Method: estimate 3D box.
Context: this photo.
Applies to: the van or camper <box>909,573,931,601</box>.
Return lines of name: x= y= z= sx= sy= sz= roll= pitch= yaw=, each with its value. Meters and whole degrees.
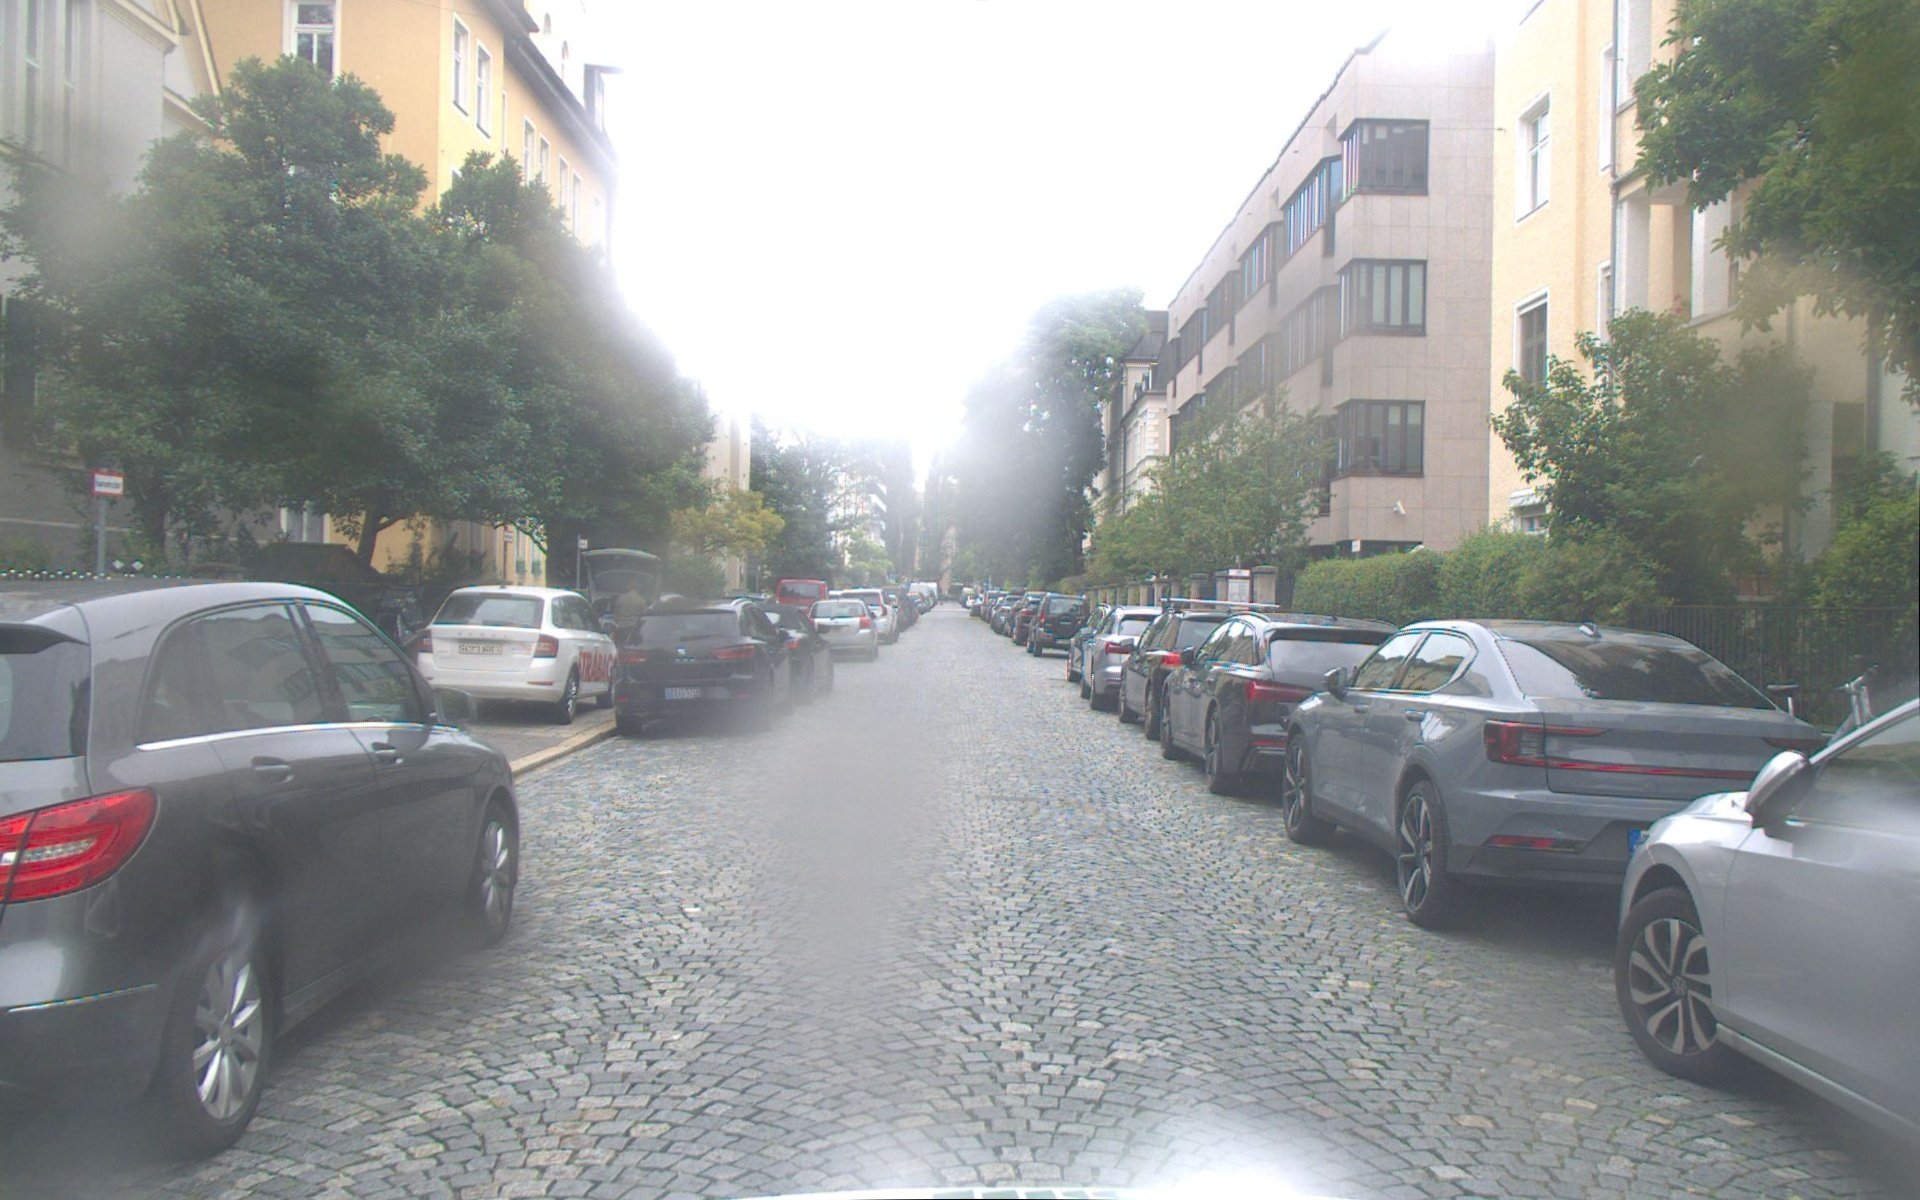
van or camper: x=-3.952 y=-1.278 z=162.423 sx=1.953 sy=2.698 sz=4.000 roll=-2 pitch=0 yaw=0

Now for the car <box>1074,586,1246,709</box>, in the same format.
car: x=2.879 y=0.629 z=24.837 sx=1.953 sy=1.579 sz=4.986 roll=2 pitch=0 yaw=0

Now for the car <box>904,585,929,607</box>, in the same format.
car: x=-3.442 y=-0.314 z=129.913 sx=1.836 sy=1.607 sz=4.253 roll=-2 pitch=0 yaw=-2

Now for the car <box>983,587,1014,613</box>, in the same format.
car: x=2.406 y=-0.013 z=104.014 sx=1.799 sy=1.516 sz=4.421 roll=3 pitch=0 yaw=0

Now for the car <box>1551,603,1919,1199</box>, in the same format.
car: x=3.240 y=0.811 z=4.334 sx=1.720 sy=1.485 sz=4.480 roll=3 pitch=0 yaw=0

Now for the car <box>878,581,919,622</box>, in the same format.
car: x=-3.127 y=0.040 z=84.849 sx=1.953 sy=1.950 sz=5.176 roll=-3 pitch=0 yaw=-1

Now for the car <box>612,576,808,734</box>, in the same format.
car: x=-2.827 y=0.569 z=19.600 sx=1.704 sy=1.631 sz=4.536 roll=-1 pitch=0 yaw=-1

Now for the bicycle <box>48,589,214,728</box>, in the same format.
bicycle: x=-8.169 y=0.536 z=16.398 sx=0.593 sy=1.281 sz=2.060 roll=1 pitch=0 yaw=0

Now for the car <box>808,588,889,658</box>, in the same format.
car: x=-2.675 y=0.515 z=40.465 sx=1.679 sy=1.589 sz=4.390 roll=-1 pitch=0 yaw=-1

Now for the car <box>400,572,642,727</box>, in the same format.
car: x=-5.031 y=0.512 z=19.598 sx=1.704 sy=1.563 sz=4.466 roll=2 pitch=0 yaw=-1

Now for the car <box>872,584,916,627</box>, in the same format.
car: x=-2.964 y=0.216 z=73.296 sx=1.828 sy=1.765 sz=4.401 roll=-2 pitch=1 yaw=-3

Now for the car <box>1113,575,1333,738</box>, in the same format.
car: x=3.028 y=0.596 z=19.920 sx=1.855 sy=1.682 sz=4.293 roll=2 pitch=0 yaw=-1

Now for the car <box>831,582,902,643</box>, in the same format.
car: x=-2.983 y=0.368 z=53.830 sx=1.965 sy=1.840 sz=5.174 roll=-1 pitch=0 yaw=0

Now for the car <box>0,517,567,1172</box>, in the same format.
car: x=-2.711 y=0.602 z=6.160 sx=1.705 sy=1.613 sz=4.189 roll=-1 pitch=0 yaw=-3

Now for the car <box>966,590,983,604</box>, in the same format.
car: x=1.602 y=-0.327 z=183.403 sx=1.753 sy=1.547 sz=4.000 roll=1 pitch=0 yaw=0

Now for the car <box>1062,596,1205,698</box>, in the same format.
car: x=3.050 y=0.772 z=30.081 sx=1.953 sy=1.579 sz=5.014 roll=3 pitch=0 yaw=-1

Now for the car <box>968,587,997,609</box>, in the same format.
car: x=1.658 y=-0.158 z=121.709 sx=1.836 sy=1.529 sz=4.509 roll=3 pitch=0 yaw=-3

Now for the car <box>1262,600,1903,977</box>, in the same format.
car: x=3.142 y=0.819 z=9.584 sx=1.844 sy=1.514 sz=4.814 roll=3 pitch=0 yaw=0

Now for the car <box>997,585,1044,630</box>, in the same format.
car: x=2.567 y=0.302 z=71.271 sx=1.834 sy=1.765 sz=4.892 roll=3 pitch=0 yaw=1

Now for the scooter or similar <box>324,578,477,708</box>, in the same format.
scooter or similar: x=-7.057 y=0.502 z=21.036 sx=1.040 sy=1.550 sz=2.634 roll=0 pitch=0 yaw=0

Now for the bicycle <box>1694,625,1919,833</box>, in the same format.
bicycle: x=5.645 y=0.802 z=10.889 sx=0.570 sy=1.216 sz=1.642 roll=1 pitch=0 yaw=-15

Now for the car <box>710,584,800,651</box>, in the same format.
car: x=-5.132 y=0.400 z=41.925 sx=1.680 sy=1.523 sz=4.721 roll=3 pitch=0 yaw=-1

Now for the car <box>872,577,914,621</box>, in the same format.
car: x=-3.156 y=-0.052 z=78.433 sx=1.835 sy=1.950 sz=4.826 roll=-2 pitch=0 yaw=-1

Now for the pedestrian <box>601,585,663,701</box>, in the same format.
pedestrian: x=-4.825 y=0.628 z=24.383 sx=0.750 sy=1.679 sz=0.582 roll=1 pitch=0 yaw=1

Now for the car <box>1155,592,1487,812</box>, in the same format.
car: x=2.959 y=0.740 z=14.716 sx=1.782 sy=1.514 sz=5.049 roll=3 pitch=0 yaw=0

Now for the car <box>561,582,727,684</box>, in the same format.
car: x=-4.994 y=0.479 z=26.757 sx=1.739 sy=1.441 sz=4.561 roll=2 pitch=0 yaw=0

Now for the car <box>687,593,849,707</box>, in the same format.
car: x=-2.751 y=0.666 z=24.737 sx=1.777 sy=1.480 sz=4.913 roll=-2 pitch=0 yaw=0

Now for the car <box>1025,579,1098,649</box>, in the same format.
car: x=2.794 y=0.358 z=46.257 sx=1.586 sy=1.781 sz=3.886 roll=3 pitch=0 yaw=-2

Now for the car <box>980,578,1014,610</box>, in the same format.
car: x=2.415 y=-0.432 z=109.723 sx=1.836 sy=1.962 sz=5.162 roll=3 pitch=0 yaw=-2

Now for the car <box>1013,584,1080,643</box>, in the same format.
car: x=2.825 y=0.418 z=54.733 sx=1.823 sy=1.731 sz=4.813 roll=4 pitch=0 yaw=-1

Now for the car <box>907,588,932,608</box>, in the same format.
car: x=-3.612 y=-0.177 z=147.494 sx=1.834 sy=1.607 sz=4.209 roll=3 pitch=0 yaw=3

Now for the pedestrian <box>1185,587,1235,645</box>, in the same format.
pedestrian: x=6.767 y=0.431 z=44.849 sx=1.191 sy=1.519 sz=1.130 roll=-2 pitch=0 yaw=2

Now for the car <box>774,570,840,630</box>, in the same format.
car: x=-5.439 y=-0.012 z=59.417 sx=1.954 sy=1.964 sz=5.329 roll=2 pitch=0 yaw=-2

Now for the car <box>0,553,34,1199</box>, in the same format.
car: x=-2.517 y=0.684 z=0.404 sx=1.832 sy=1.496 sz=5.132 roll=-1 pitch=0 yaw=-2
